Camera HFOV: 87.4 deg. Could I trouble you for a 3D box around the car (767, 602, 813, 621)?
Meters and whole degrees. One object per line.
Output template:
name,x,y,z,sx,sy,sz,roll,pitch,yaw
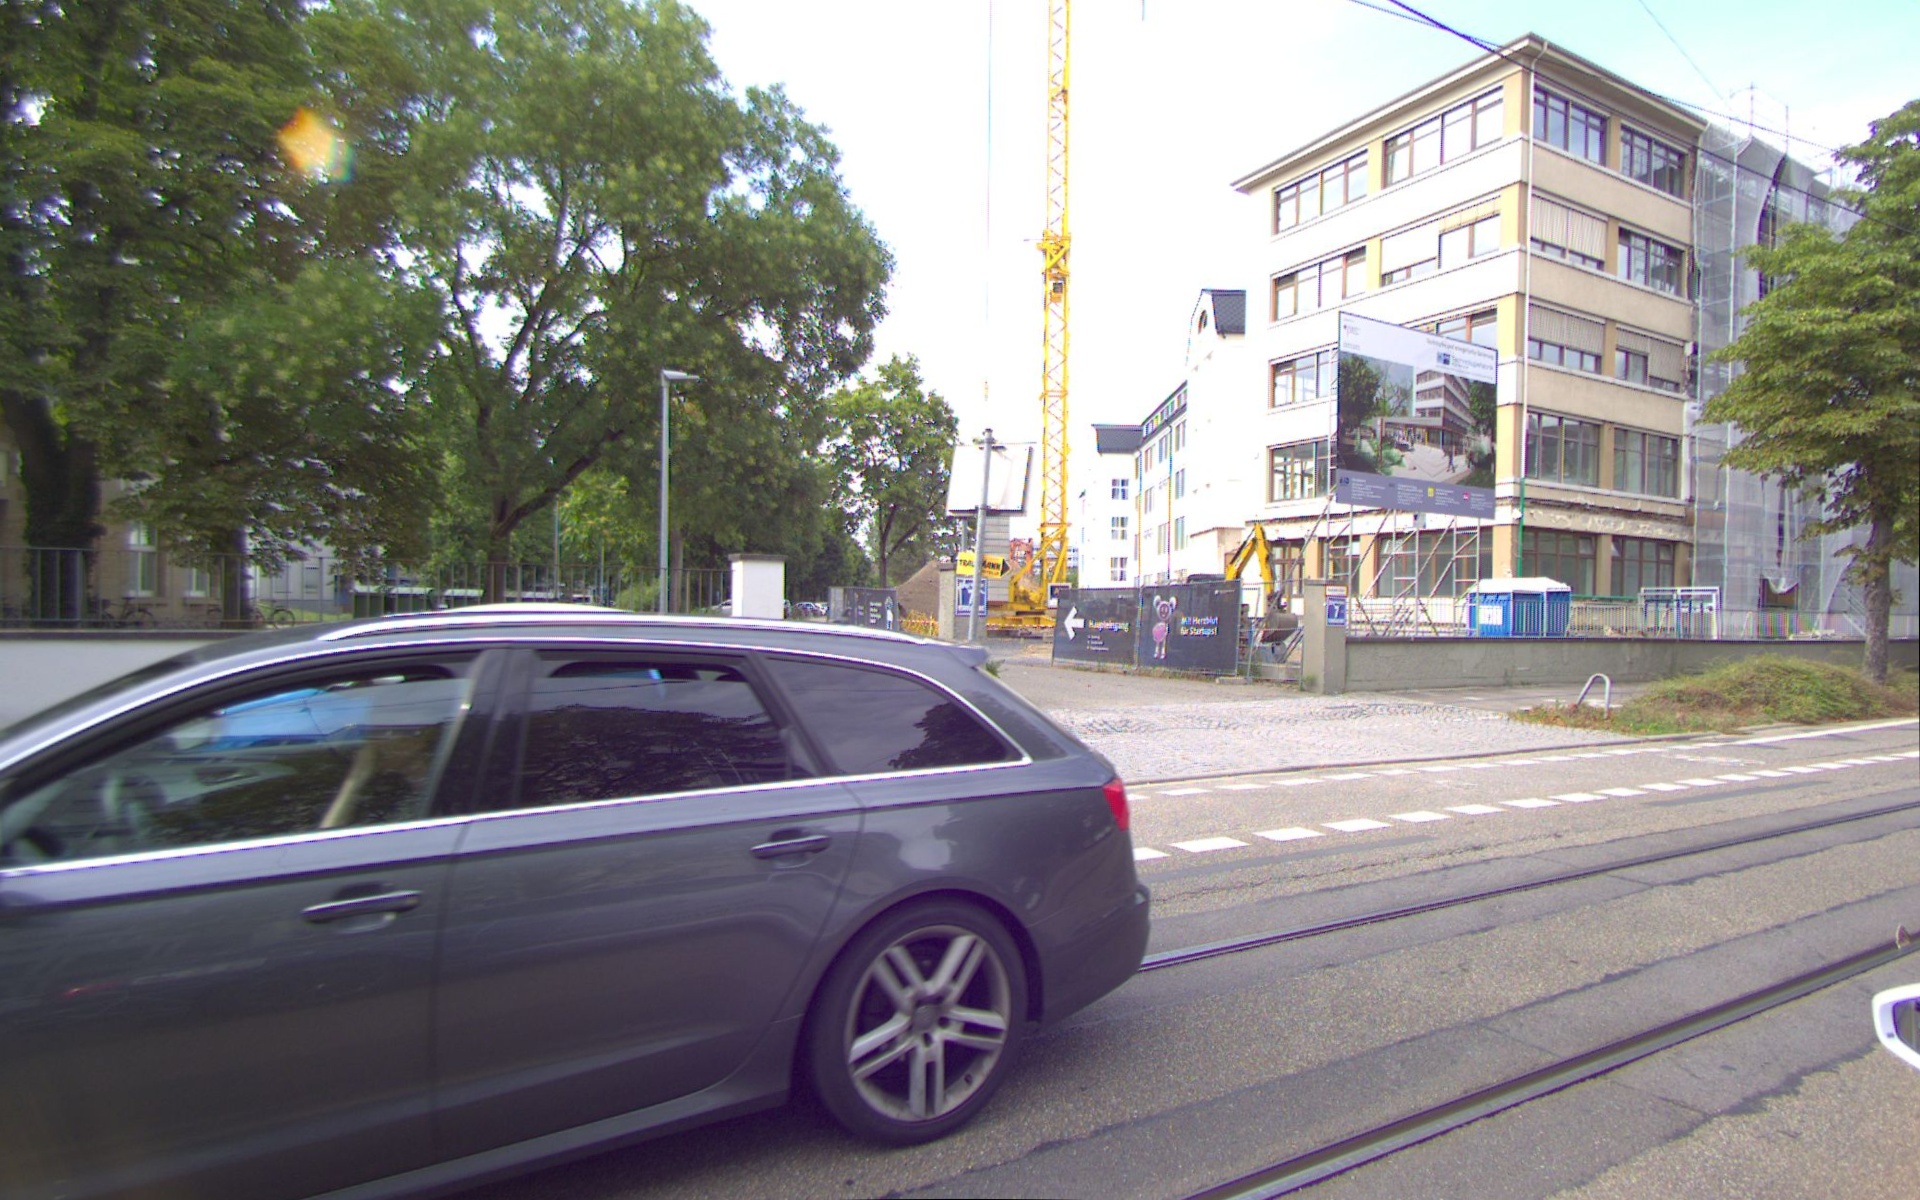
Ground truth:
car,-14.989,1.005,88.554,3.927,1.518,1.911,1,0,-9

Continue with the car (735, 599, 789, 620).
car,-14.909,0.693,75.887,3.927,1.518,1.911,1,0,-9

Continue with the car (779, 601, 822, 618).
car,-15.086,0.925,94.925,3.927,1.518,1.911,1,0,-9

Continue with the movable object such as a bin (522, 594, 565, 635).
movable object such as a bin,-13.787,0.472,33.249,1.073,1.290,0.861,1,1,-3

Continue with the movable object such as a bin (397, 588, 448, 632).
movable object such as a bin,-17.863,0.325,33.396,1.180,1.393,0.970,1,1,-3

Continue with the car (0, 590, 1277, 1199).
car,-1.342,0.732,3.008,4.500,1.467,1.826,1,0,-30

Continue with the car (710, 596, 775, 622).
car,-13.959,0.571,64.516,3.927,1.518,1.911,1,0,-9

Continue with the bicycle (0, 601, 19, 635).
bicycle,-21.887,0.379,21.830,2.010,0.718,0.713,1,1,-10

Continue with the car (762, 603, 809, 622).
car,-14.859,1.039,85.751,3.927,1.518,1.911,1,0,-9

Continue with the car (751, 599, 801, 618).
car,-15.064,0.676,82.315,3.927,1.518,1.911,1,0,-9

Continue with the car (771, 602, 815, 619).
car,-15.288,0.957,92.259,3.927,1.518,1.911,1,0,-9

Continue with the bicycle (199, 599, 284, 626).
bicycle,-22.179,0.377,31.020,2.010,0.783,0.713,1,1,-10

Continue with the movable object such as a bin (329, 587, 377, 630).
movable object such as a bin,-20.153,0.272,33.363,1.001,1.393,0.970,1,1,-3

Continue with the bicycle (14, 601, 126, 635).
bicycle,-22.152,0.444,25.040,2.010,0.783,0.713,1,1,-10

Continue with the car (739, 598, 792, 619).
car,-15.299,0.657,79.173,3.927,1.518,1.911,1,0,-9

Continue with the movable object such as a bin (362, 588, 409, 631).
movable object such as a bin,-19.085,0.296,33.396,1.001,1.393,0.970,1,1,-3

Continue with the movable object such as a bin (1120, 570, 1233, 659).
movable object such as a bin,5.394,0.352,25.161,1.935,2.095,1.979,1,0,-27

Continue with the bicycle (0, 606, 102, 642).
bicycle,-21.964,0.574,24.100,2.010,0.783,0.713,1,1,-10

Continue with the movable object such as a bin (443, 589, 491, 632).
movable object such as a bin,-16.442,0.356,33.522,1.180,1.393,0.861,1,1,-3

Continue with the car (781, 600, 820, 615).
car,-16.557,0.780,104.290,3.927,1.518,1.911,1,0,-9

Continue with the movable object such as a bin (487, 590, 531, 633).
movable object such as a bin,-15.021,0.389,33.472,1.073,1.393,0.861,1,1,-3

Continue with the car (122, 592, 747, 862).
car,-3.587,0.749,7.345,3.634,1.507,1.685,1,1,-30

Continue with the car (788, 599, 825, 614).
car,-16.536,0.740,108.408,3.927,1.518,1.911,1,0,-9

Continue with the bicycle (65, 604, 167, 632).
bicycle,-22.469,0.481,26.789,2.028,0.718,0.707,1,1,-37
